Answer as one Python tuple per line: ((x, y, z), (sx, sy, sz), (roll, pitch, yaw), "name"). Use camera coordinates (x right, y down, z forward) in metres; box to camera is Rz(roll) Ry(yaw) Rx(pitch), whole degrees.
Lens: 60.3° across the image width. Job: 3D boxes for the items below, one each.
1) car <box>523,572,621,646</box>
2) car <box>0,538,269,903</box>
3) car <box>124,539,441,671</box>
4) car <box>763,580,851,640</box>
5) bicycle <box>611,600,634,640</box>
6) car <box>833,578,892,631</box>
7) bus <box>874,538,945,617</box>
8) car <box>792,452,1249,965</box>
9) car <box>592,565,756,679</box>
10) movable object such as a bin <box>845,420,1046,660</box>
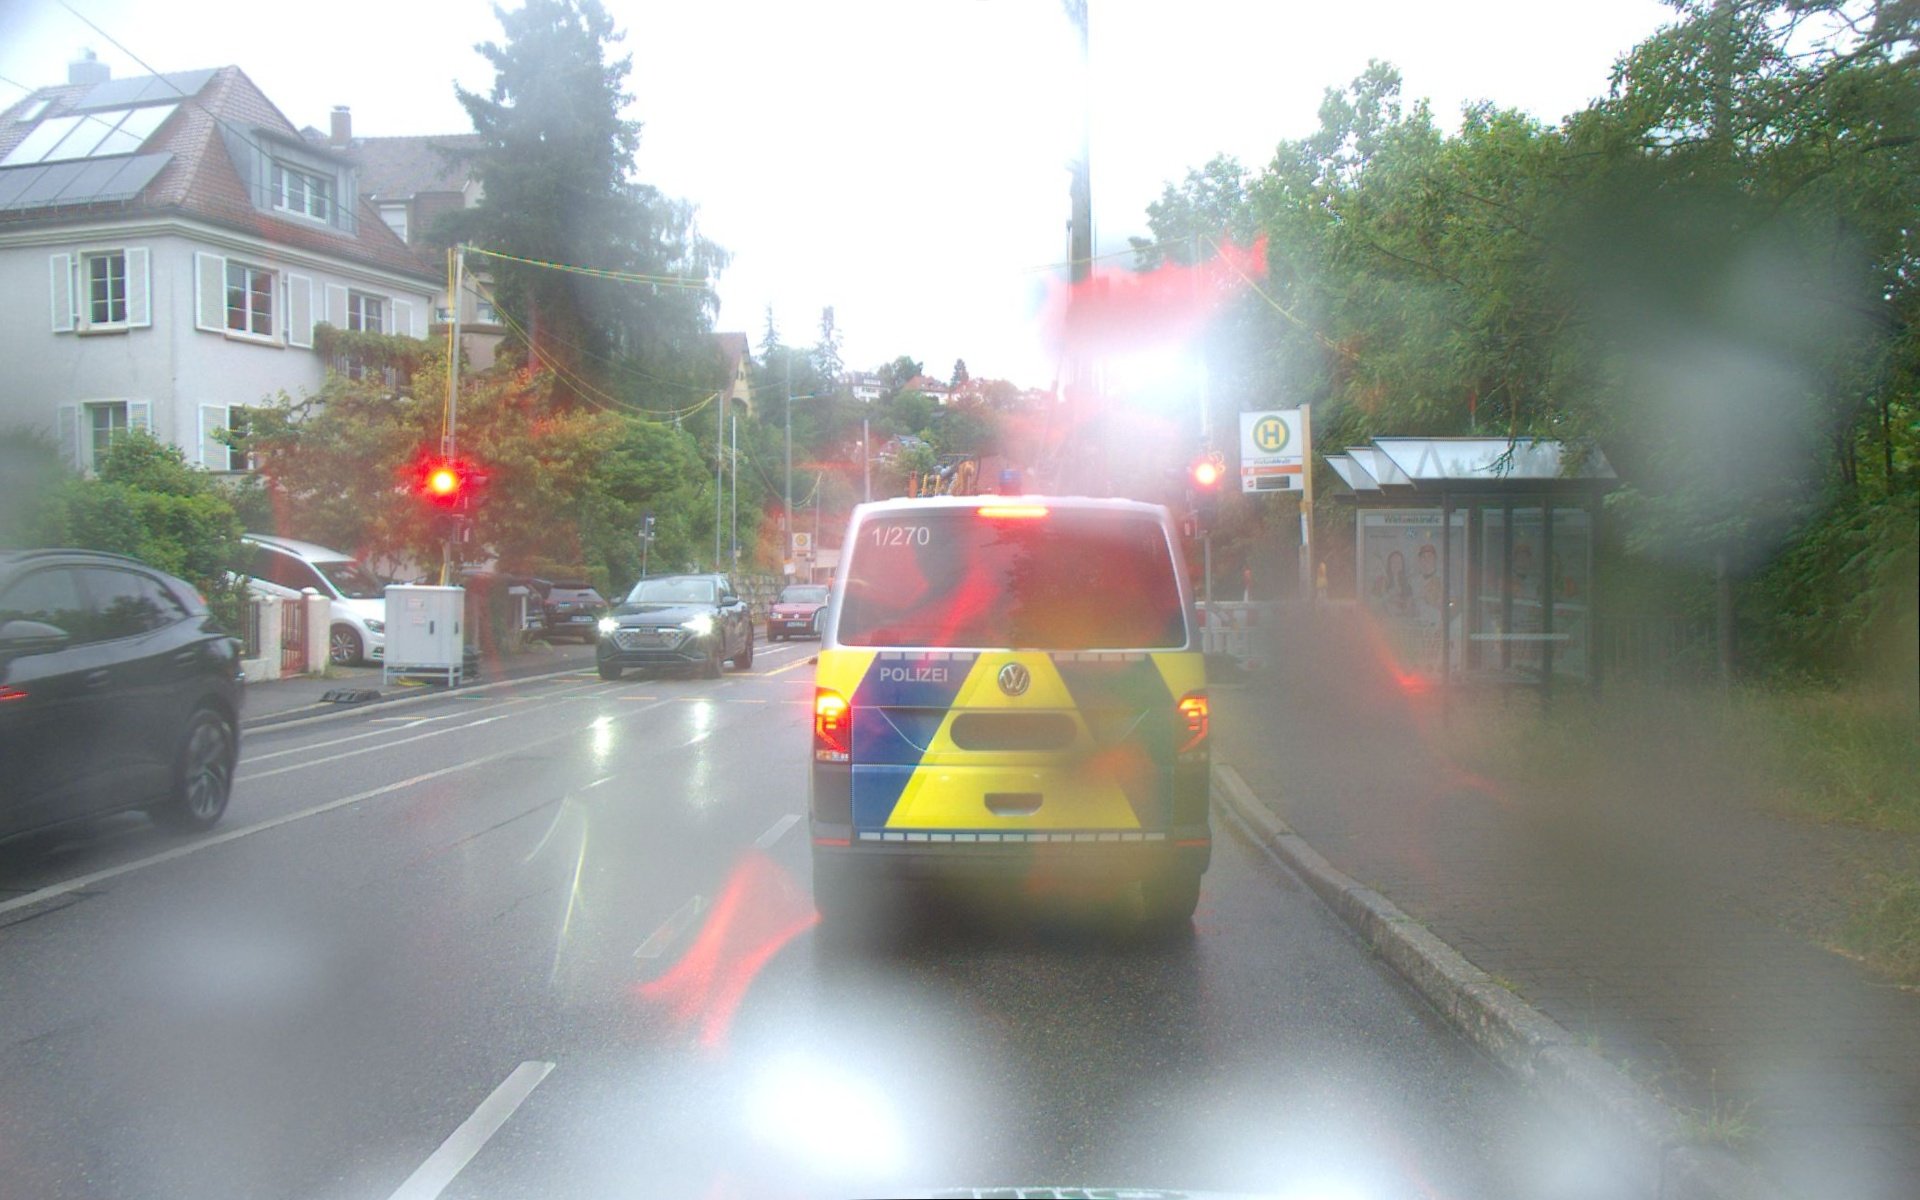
((-8.917, 0.180, 37.831), (1.739, 1.512, 3.721), (1, 2, -20), "car")
((-5.245, 0.521, 8.282), (1.829, 1.650, 4.164), (1, 1, -1), "car")
((-11.214, 0.060, 27.493), (4.532, 2.042, 1.902), (1, 0, 11), "car")
((-4.007, 0.229, 43.844), (1.727, 1.488, 3.888), (1, 1, 4), "car")
((-8.060, 0.471, 39.457), (0.455, 0.913, 1.628), (0, 0, -15), "bicycle")
((-3.397, 0.138, 57.687), (1.940, 1.778, 4.550), (1, 0, -4), "car")
((-2.499, -1.143, 85.881), (2.782, 3.783, 12.009), (1, 0, 2), "bus")
((0.222, 0.438, 8.824), (1.855, 2.086, 3.999), (1, 0, -1), "car")
((-4.615, 0.332, 27.391), (1.953, 1.703, 4.687), (-1, 0, -1), "car")
((-0.171, -1.090, 31.642), (2.770, 4.250, 4.384), (1, 0, 14), "movable object such as a bin")
